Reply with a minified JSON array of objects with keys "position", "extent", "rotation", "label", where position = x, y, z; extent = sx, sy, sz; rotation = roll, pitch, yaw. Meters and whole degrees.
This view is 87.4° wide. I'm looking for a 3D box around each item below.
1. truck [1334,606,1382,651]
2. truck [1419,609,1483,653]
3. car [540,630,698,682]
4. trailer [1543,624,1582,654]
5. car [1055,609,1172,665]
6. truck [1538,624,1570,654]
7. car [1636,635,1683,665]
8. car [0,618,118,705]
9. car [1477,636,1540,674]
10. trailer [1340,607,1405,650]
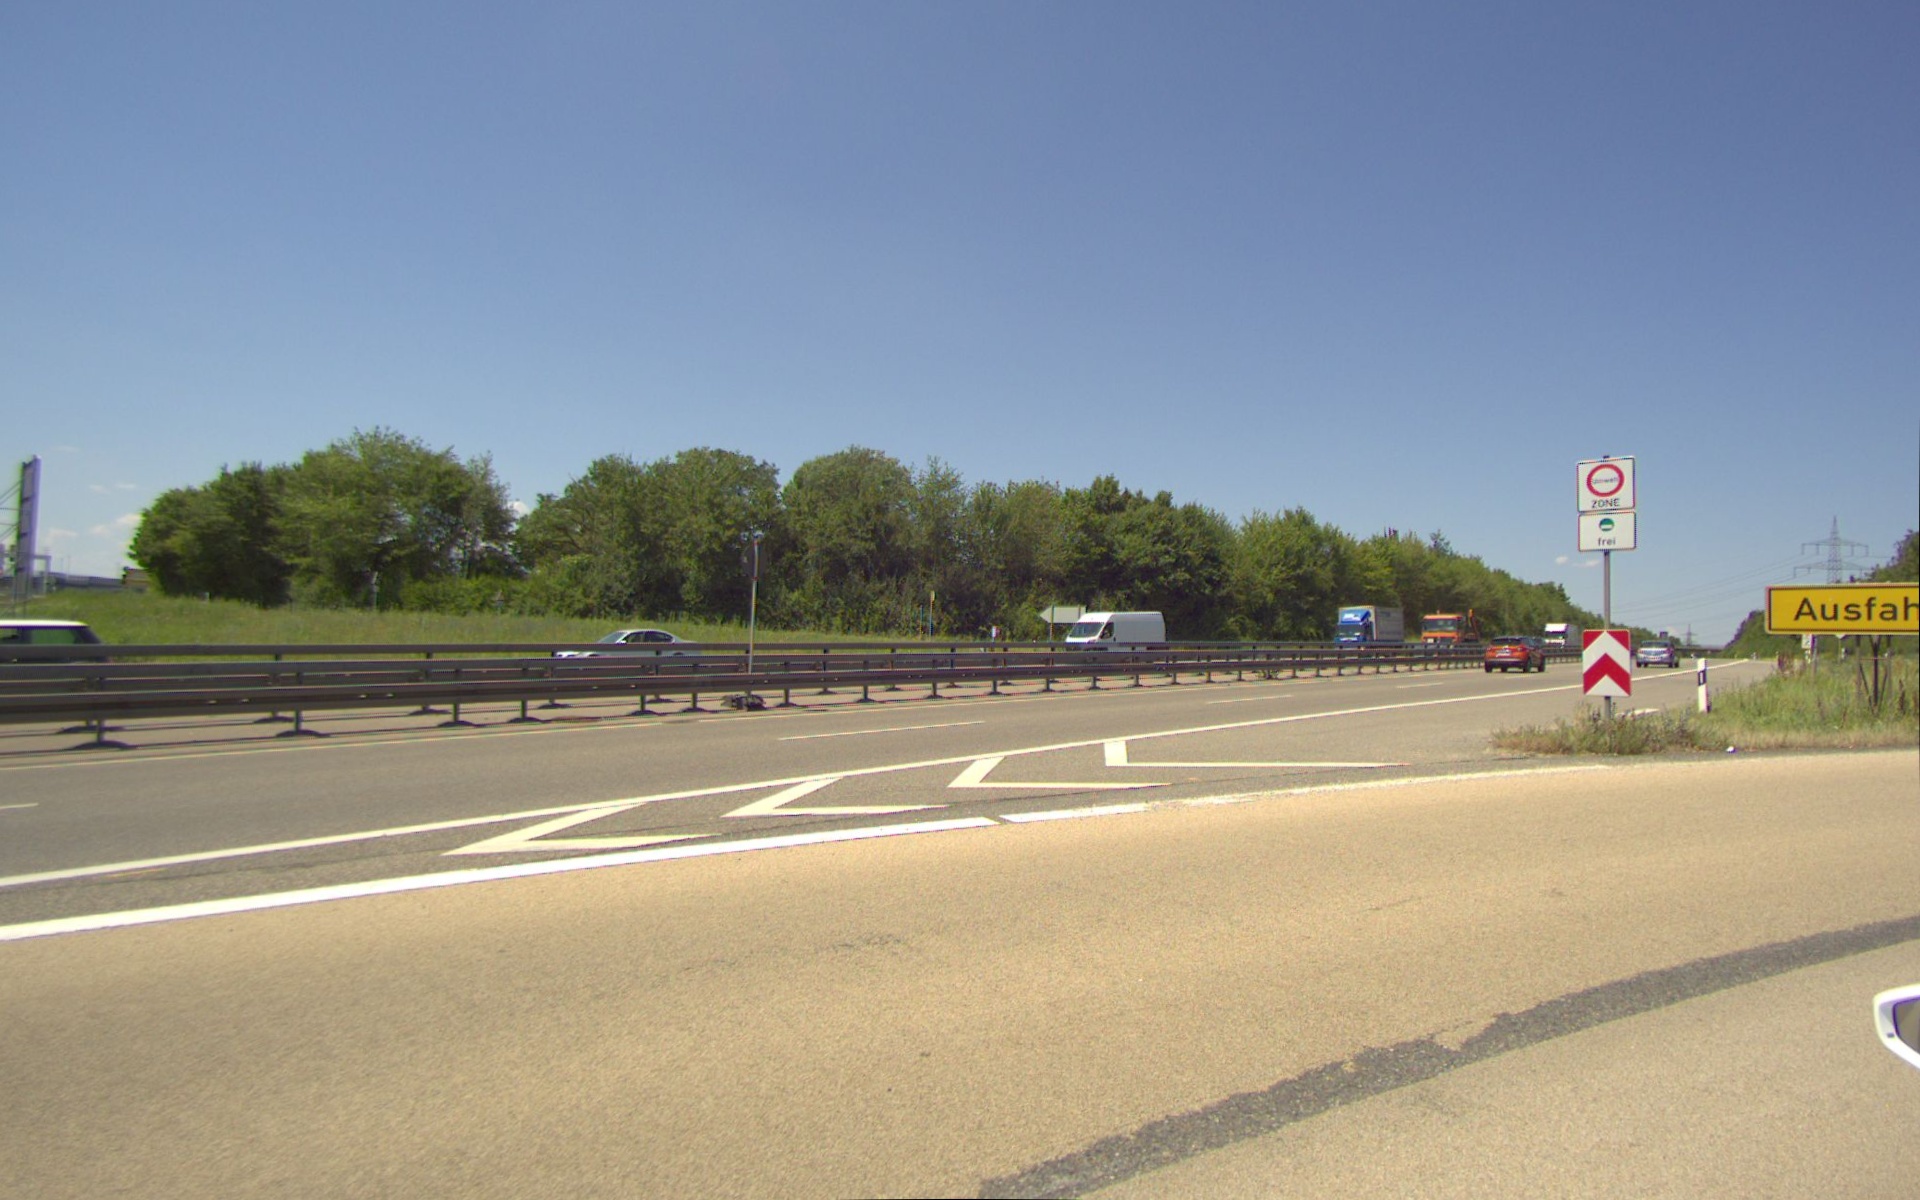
[{"position":[28.151,2.009,71.070],"extent":[2.282,3.049,3.061],"rotation":[-1,-2,41],"label":"truck"},{"position":[36.738,2.362,75.006],"extent":[2.563,3.102,8.171],"rotation":[-1,-3,38],"label":"truck"},{"position":[-10.843,1.738,32.177],"extent":[1.680,1.504,4.508],"rotation":[0,-1,44],"label":"car"},{"position":[84.627,5.529,140.949],"extent":[2.877,3.991,13.217],"rotation":[-2,-3,39],"label":"trailer"},{"position":[7.578,1.773,48.968],"extent":[6.654,2.571,2.135],"rotation":[2,-1,-45],"label":"car"},{"position":[80.093,5.266,135.349],"extent":[2.877,3.991,5.394],"rotation":[-2,-3,39],"label":"truck"},{"position":[38.454,2.732,55.222],"extent":[1.724,1.598,3.362],"rotation":[-2,-3,41],"label":"car"},{"position":[-16.111,0.972,16.091],"extent":[3.897,1.365,1.499],"rotation":[2,-1,-45],"label":"car"},{"position":[24.245,2.402,44.376],"extent":[1.724,1.574,3.362],"rotation":[-2,-3,41],"label":"car"},{"position":[30.241,2.078,73.454],"extent":[2.272,3.049,7.186],"rotation":[-1,-2,41],"label":"trailer"}]
